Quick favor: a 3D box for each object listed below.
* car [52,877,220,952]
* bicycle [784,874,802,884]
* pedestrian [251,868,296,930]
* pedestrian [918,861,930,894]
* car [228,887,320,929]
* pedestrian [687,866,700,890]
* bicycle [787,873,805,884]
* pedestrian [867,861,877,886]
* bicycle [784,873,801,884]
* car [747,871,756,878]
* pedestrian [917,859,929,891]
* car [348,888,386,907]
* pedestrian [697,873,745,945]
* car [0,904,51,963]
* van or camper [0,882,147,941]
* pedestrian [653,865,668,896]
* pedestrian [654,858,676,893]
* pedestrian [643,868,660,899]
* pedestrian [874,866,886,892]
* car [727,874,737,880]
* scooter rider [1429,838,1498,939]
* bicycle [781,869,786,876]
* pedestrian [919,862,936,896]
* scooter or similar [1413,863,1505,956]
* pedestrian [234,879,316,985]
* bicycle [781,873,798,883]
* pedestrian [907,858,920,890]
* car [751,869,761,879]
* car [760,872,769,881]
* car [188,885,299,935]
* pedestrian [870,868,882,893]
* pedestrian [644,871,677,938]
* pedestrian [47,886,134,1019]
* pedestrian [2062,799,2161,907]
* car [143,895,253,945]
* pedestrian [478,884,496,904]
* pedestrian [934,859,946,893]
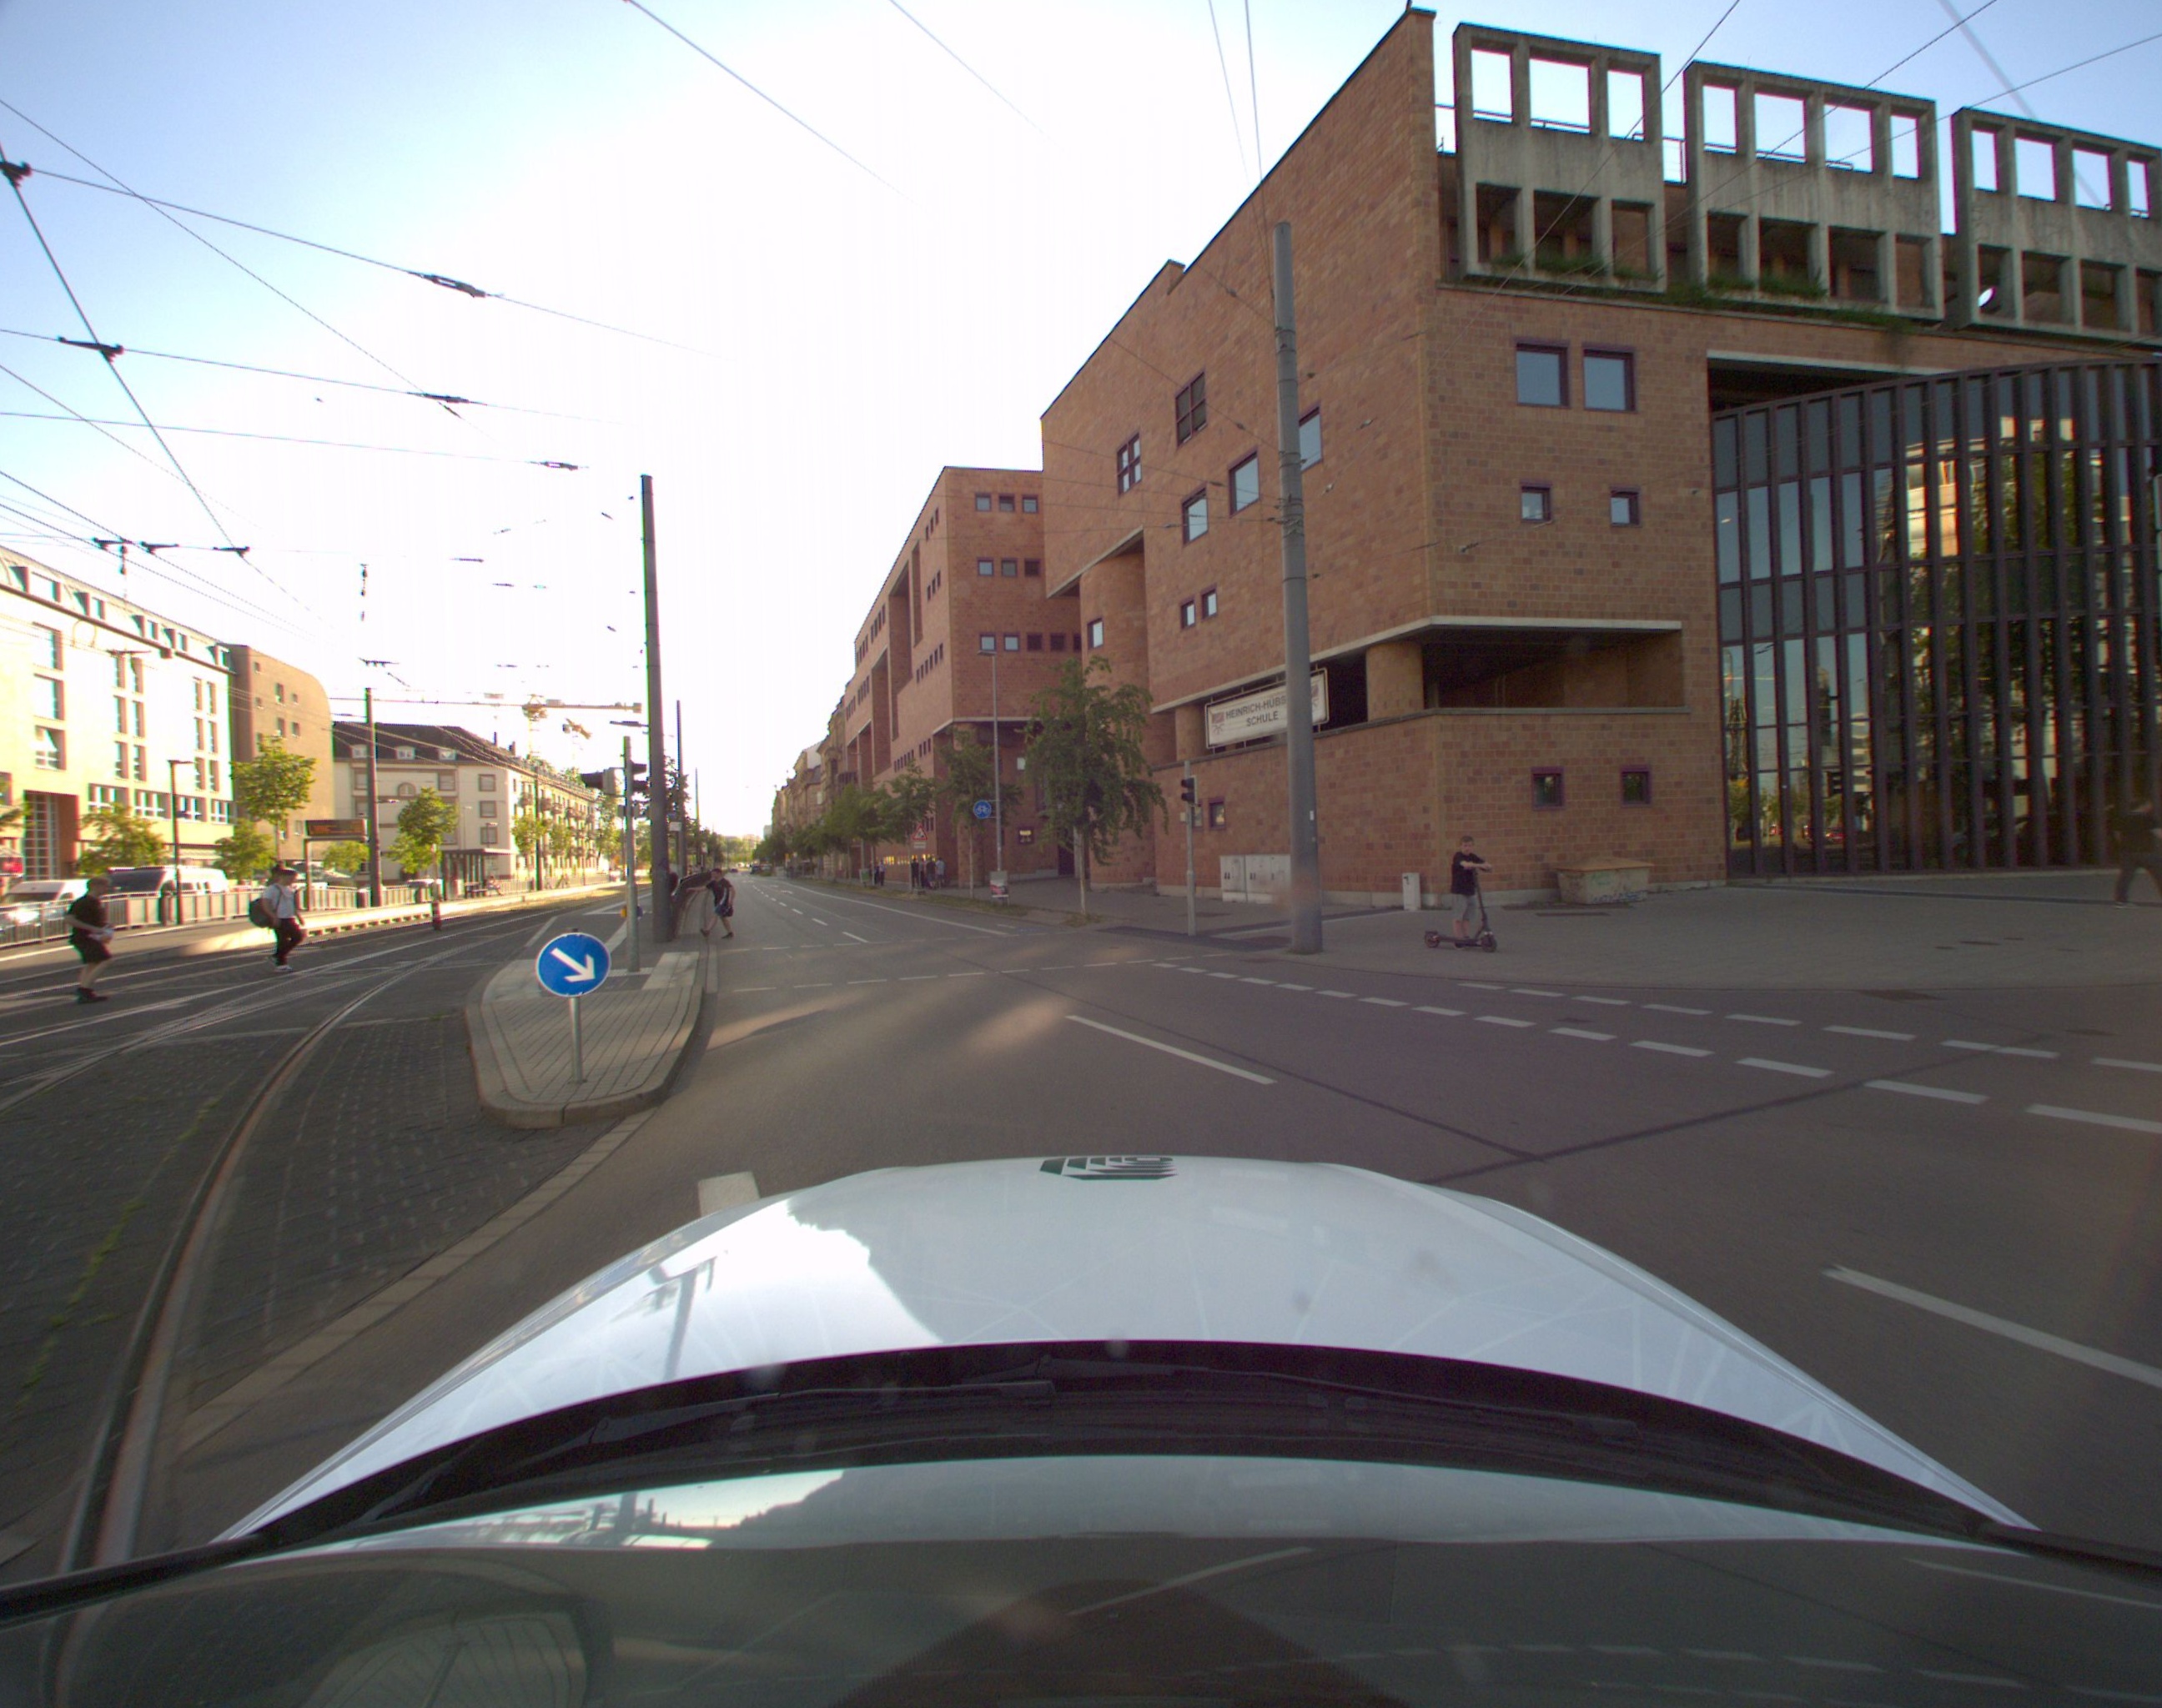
[{"bbox_3d":[-34.052,2.065,29.594,2.055,2.358,4.880,-2,0,-24],"label":"car"},{"bbox_3d":[-33.950,2.942,95.971,1.837,1.064,0.657,-5,2,-29],"label":"bicycle"},{"bbox_3d":[-22.758,1.252,22.968,0.679,1.684,0.572,-2,0,-19],"label":"pedestrian"},{"bbox_3d":[-8.548,1.276,44.382,0.537,1.756,0.692,-2,0,-13],"label":"pedestrian"},{"bbox_3d":[-43.384,2.848,43.905,1.893,1.866,4.285,-2,1,-21],"label":"car"},{"bbox_3d":[-25.962,1.628,54.555,0.676,1.562,0.899,-2,0,-24],"label":"pedestrian"},{"bbox_3d":[-34.073,2.928,97.407,1.837,1.064,0.657,-5,2,-29],"label":"bicycle"},{"bbox_3d":[-14.612,1.366,56.916,0.541,1.756,0.417,-2,-1,-38],"label":"pedestrian"},{"bbox_3d":[-34.920,2.946,98.534,1.837,1.064,0.657,-5,2,-29],"label":"bicycle"},{"bbox_3d":[-75.416,4.644,186.254,1.857,1.457,4.125,-2,1,-22],"label":"car"},{"bbox_3d":[-8.913,1.196,45.972,0.539,1.756,0.418,-2,-1,-23],"label":"pedestrian"},{"bbox_3d":[-69.538,4.210,79.382,1.848,1.585,4.118,-3,1,-29],"label":"car"},{"bbox_3d":[-8.002,1.202,18.093,0.719,1.538,0.841,-2,-1,-40],"label":"pedestrian"},{"bbox_3d":[-30.822,2.295,22.137,1.896,1.532,3.966,-2,1,-26],"label":"car"},{"bbox_3d":[-46.303,2.543,37.438,2.002,2.169,5.574,-2,2,-22],"label":"van or camper"},{"bbox_3d":[-22.717,1.420,43.990,0.660,1.672,0.666,-2,0,-25],"label":"pedestrian"},{"bbox_3d":[-20.797,1.083,40.745,0.892,1.672,0.666,-2,0,-26],"label":"pedestrian"},{"bbox_3d":[-21.664,1.486,41.073,0.686,1.483,0.822,-2,-1,-25],"label":"pedestrian"},{"bbox_3d":[-13.341,1.655,54.073,0.574,1.713,0.635,-2,-1,-29],"label":"pedestrian"},{"bbox_3d":[-93.711,6.052,218.632,1.802,1.464,3.977,-2,0,-17],"label":"car"},{"bbox_3d":[5.778,0.516,12.319,0.509,1.461,0.715,-2,-1,-31],"label":"scooter rider"},{"bbox_3d":[-66.822,4.101,182.890,0.664,1.402,2.333,-2,1,-24],"label":"bicycle"},{"bbox_3d":[-8.074,1.296,42.843,0.731,1.756,0.694,-2,0,-5],"label":"pedestrian"},{"bbox_3d":[5.738,0.819,12.398,0.531,1.318,1.121,-2,-1,-32],"label":"scooter or similar"},{"bbox_3d":[-13.914,1.316,14.079,0.640,1.717,0.774,-2,0,-13],"label":"pedestrian"},{"bbox_3d":[-35.705,2.960,99.784,1.837,1.064,0.657,-5,2,-29],"label":"bicycle"},{"bbox_3d":[-9.258,1.106,45.097,0.539,1.756,0.461,-2,-1,-25],"label":"pedestrian"},{"bbox_3d":[-69.475,4.264,174.225,1.893,1.937,4.440,0,0,-22],"label":"car"},{"bbox_3d":[-61.950,4.327,159.511,1.643,1.486,4.182,-4,1,-21],"label":"car"},{"bbox_3d":[-37.256,2.423,36.390,1.895,1.866,4.282,-2,1,-24],"label":"car"},{"bbox_3d":[-13.388,1.746,53.208,0.519,1.605,0.698,-2,-1,-29],"label":"pedestrian"},{"bbox_3d":[-9.948,1.178,19.270,0.489,1.538,0.549,-2,0,-9],"label":"pedestrian"},{"bbox_3d":[-13.576,1.315,11.184,0.628,1.702,0.740,-2,-1,-43],"label":"pedestrian"},{"bbox_3d":[17.113,-0.012,13.506,0.663,1.716,0.821,-2,-1,-12],"label":"pedestrian"},{"bbox_3d":[-40.539,2.972,37.539,1.896,1.866,4.279,-2,1,-26],"label":"car"},{"bbox_3d":[-35.946,2.417,49.300,0.676,1.189,0.899,-2,0,-24],"label":"pedestrian"},{"bbox_3d":[-7.585,1.167,43.675,0.537,1.756,0.692,-2,0,-13],"label":"pedestrian"}]
